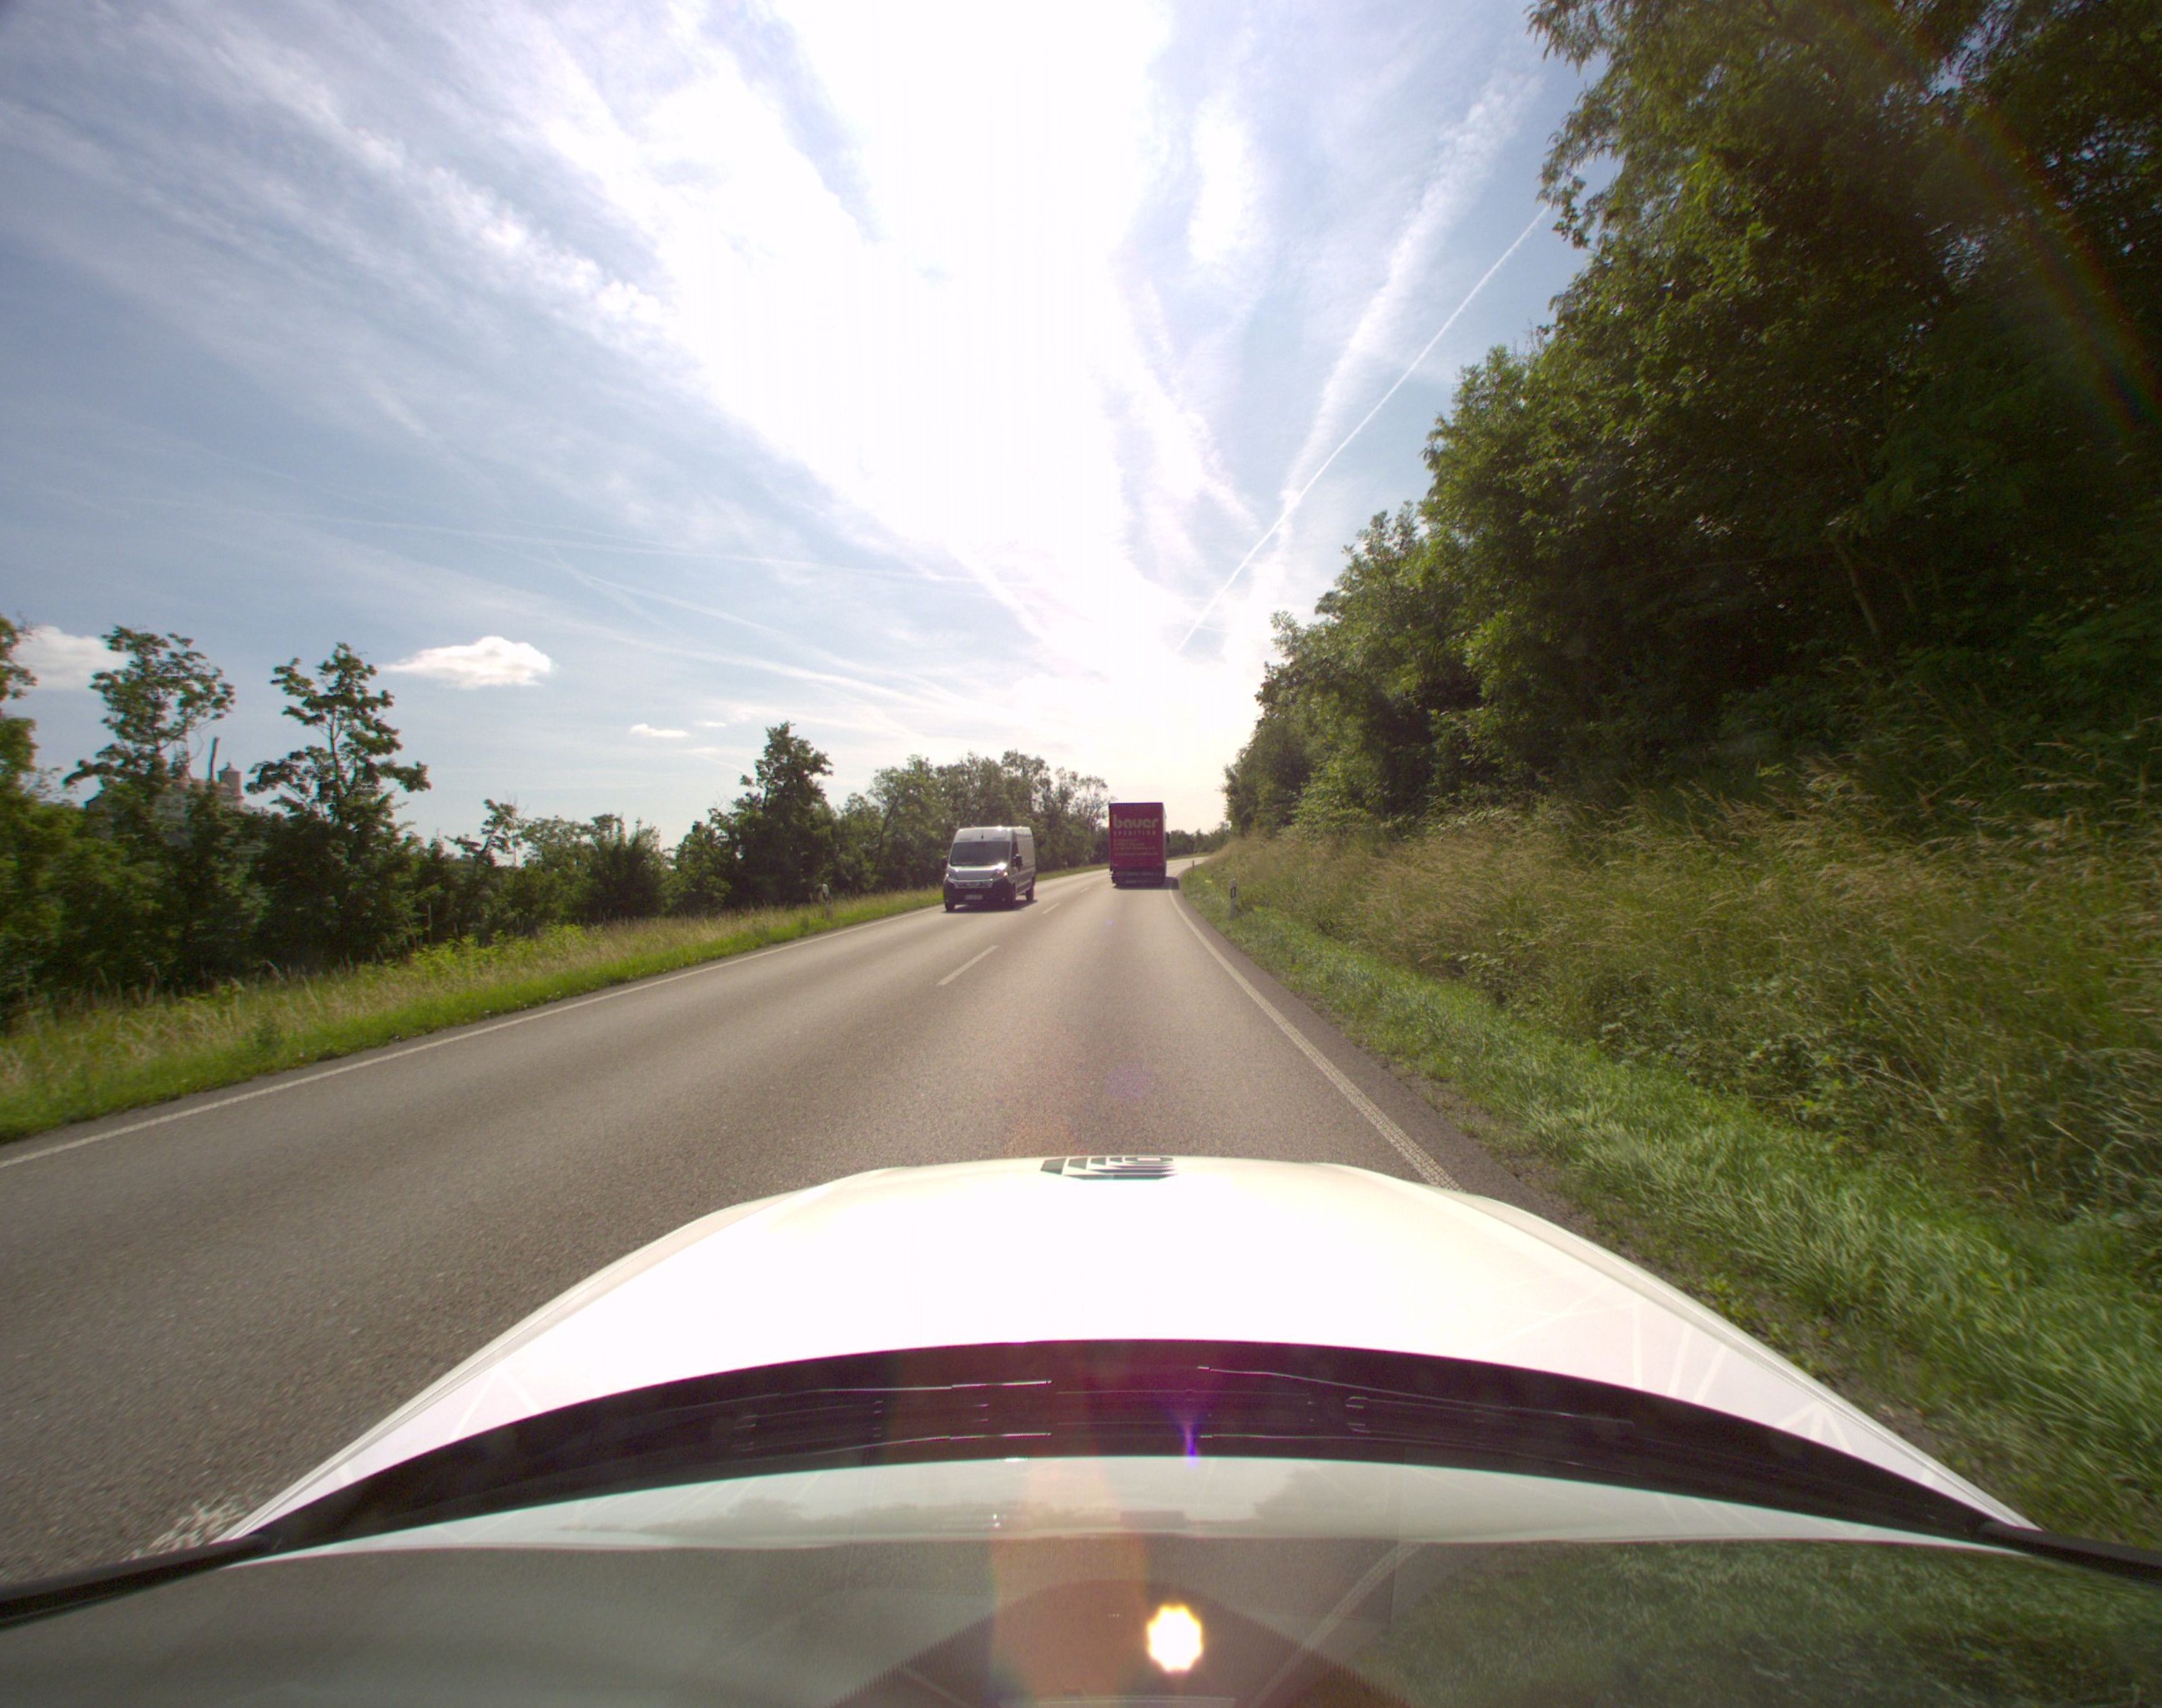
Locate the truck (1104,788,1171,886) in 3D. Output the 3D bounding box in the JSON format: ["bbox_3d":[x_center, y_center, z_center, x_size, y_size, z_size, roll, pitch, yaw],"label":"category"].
[{"bbox_3d":[3.033,-0.797,43.642,3.098,4.506,12.181,0,0,4],"label":"truck"}]

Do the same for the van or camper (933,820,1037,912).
[{"bbox_3d":[-2.871,0.346,26.050,2.199,2.528,6.139,-2,0,3],"label":"van or camper"}]
